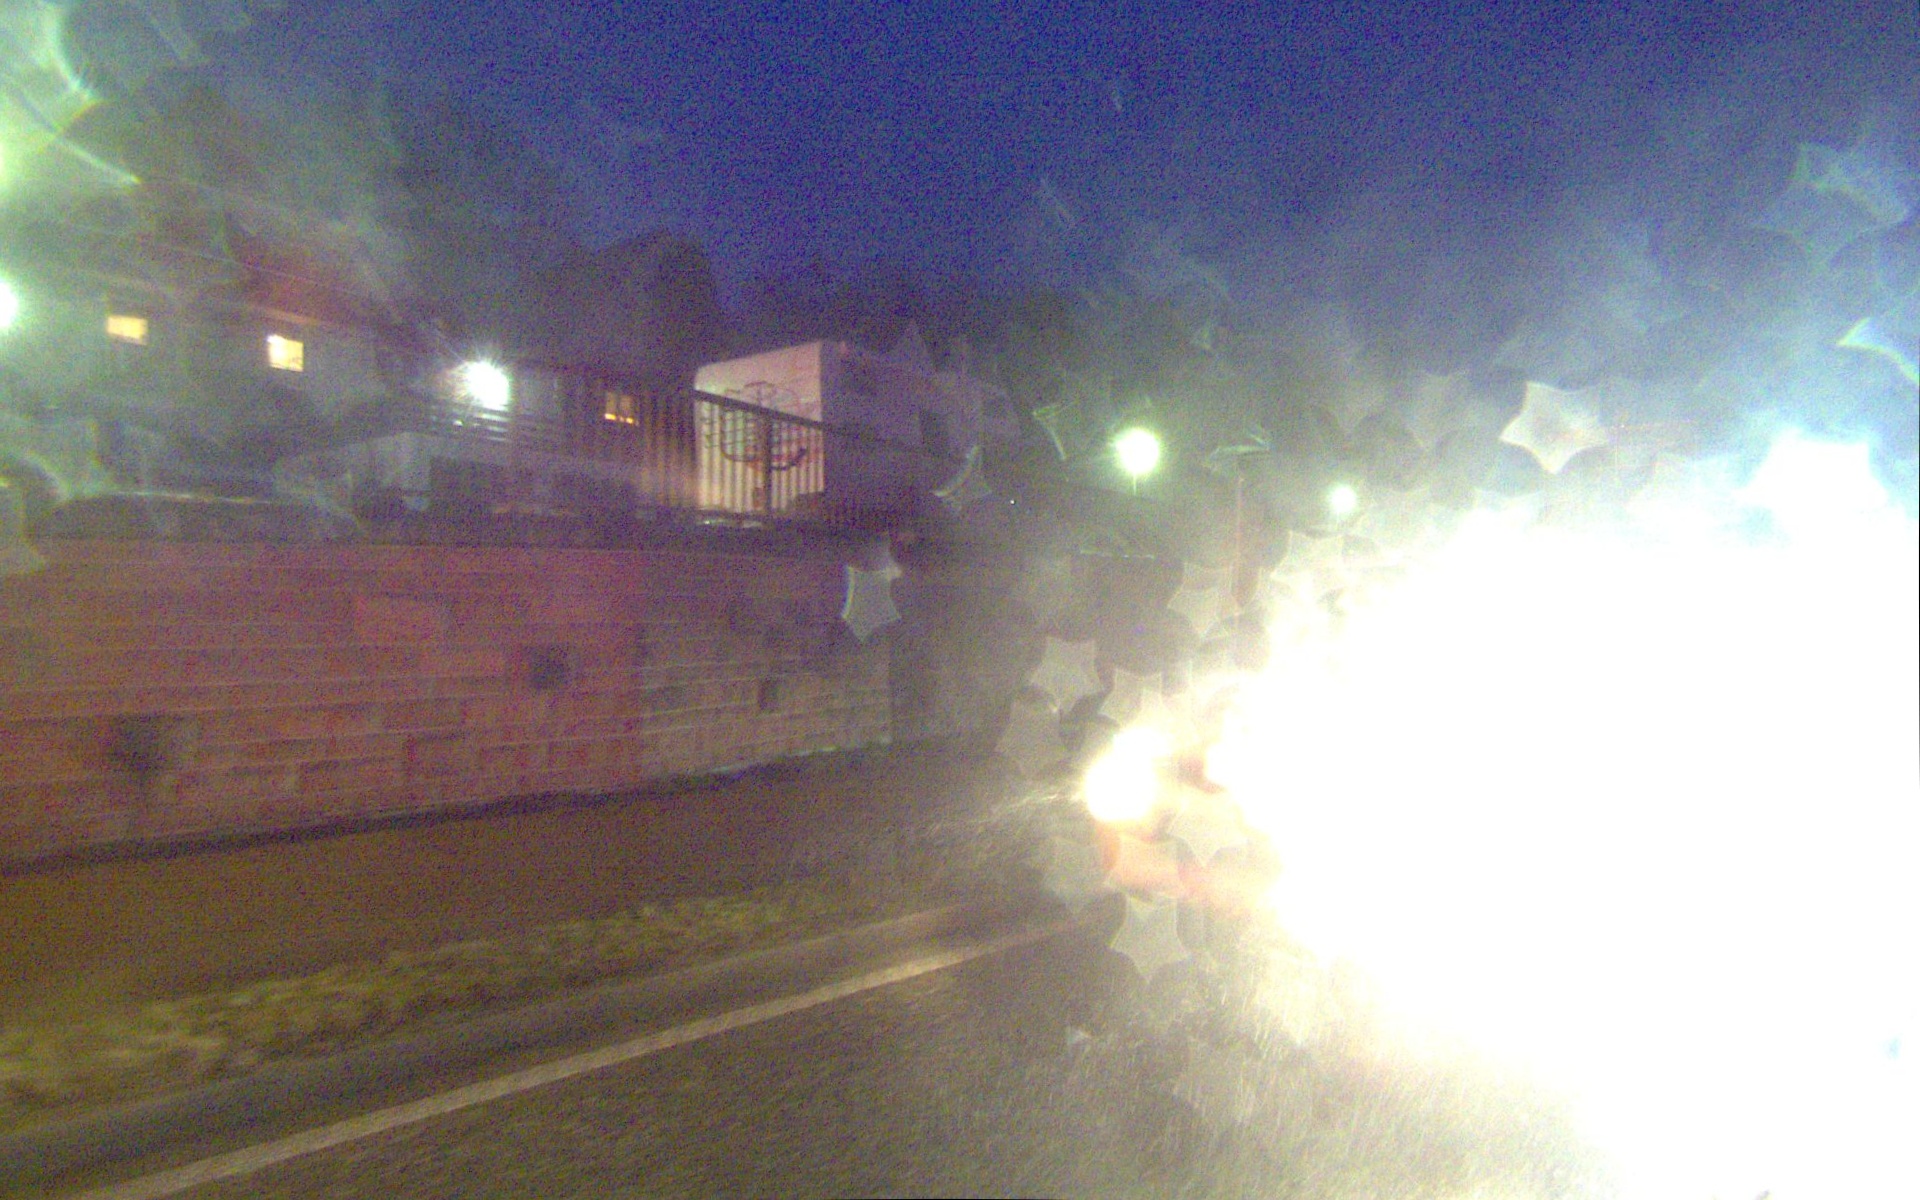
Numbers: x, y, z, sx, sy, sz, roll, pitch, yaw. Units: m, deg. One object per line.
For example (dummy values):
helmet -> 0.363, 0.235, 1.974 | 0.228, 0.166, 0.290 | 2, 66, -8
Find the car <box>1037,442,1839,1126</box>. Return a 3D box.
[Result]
car -> 2.641, 0.497, 4.903 | 4.626, 1.841, 1.758 | 0, 0, -40

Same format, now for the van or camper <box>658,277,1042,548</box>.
van or camper -> -1.272, -2.373, 15.272 | 2.566, 2.944, 6.292 | 1, 1, 30

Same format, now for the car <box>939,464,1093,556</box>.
car -> 1.326, -1.852, 21.984 | 1.628, 1.638, 4.088 | 1, 0, 31

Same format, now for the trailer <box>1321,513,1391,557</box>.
trailer -> 21.046, -3.379, 53.620 | 2.218, 2.097, 5.651 | 2, 1, 34

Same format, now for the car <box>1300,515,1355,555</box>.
car -> 17.190, -3.005, 47.270 | 1.605, 1.660, 3.955 | 1, 1, 32

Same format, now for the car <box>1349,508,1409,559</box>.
car -> 24.125, -3.732, 58.189 | 2.107, 2.668, 5.384 | 1, 1, 34
